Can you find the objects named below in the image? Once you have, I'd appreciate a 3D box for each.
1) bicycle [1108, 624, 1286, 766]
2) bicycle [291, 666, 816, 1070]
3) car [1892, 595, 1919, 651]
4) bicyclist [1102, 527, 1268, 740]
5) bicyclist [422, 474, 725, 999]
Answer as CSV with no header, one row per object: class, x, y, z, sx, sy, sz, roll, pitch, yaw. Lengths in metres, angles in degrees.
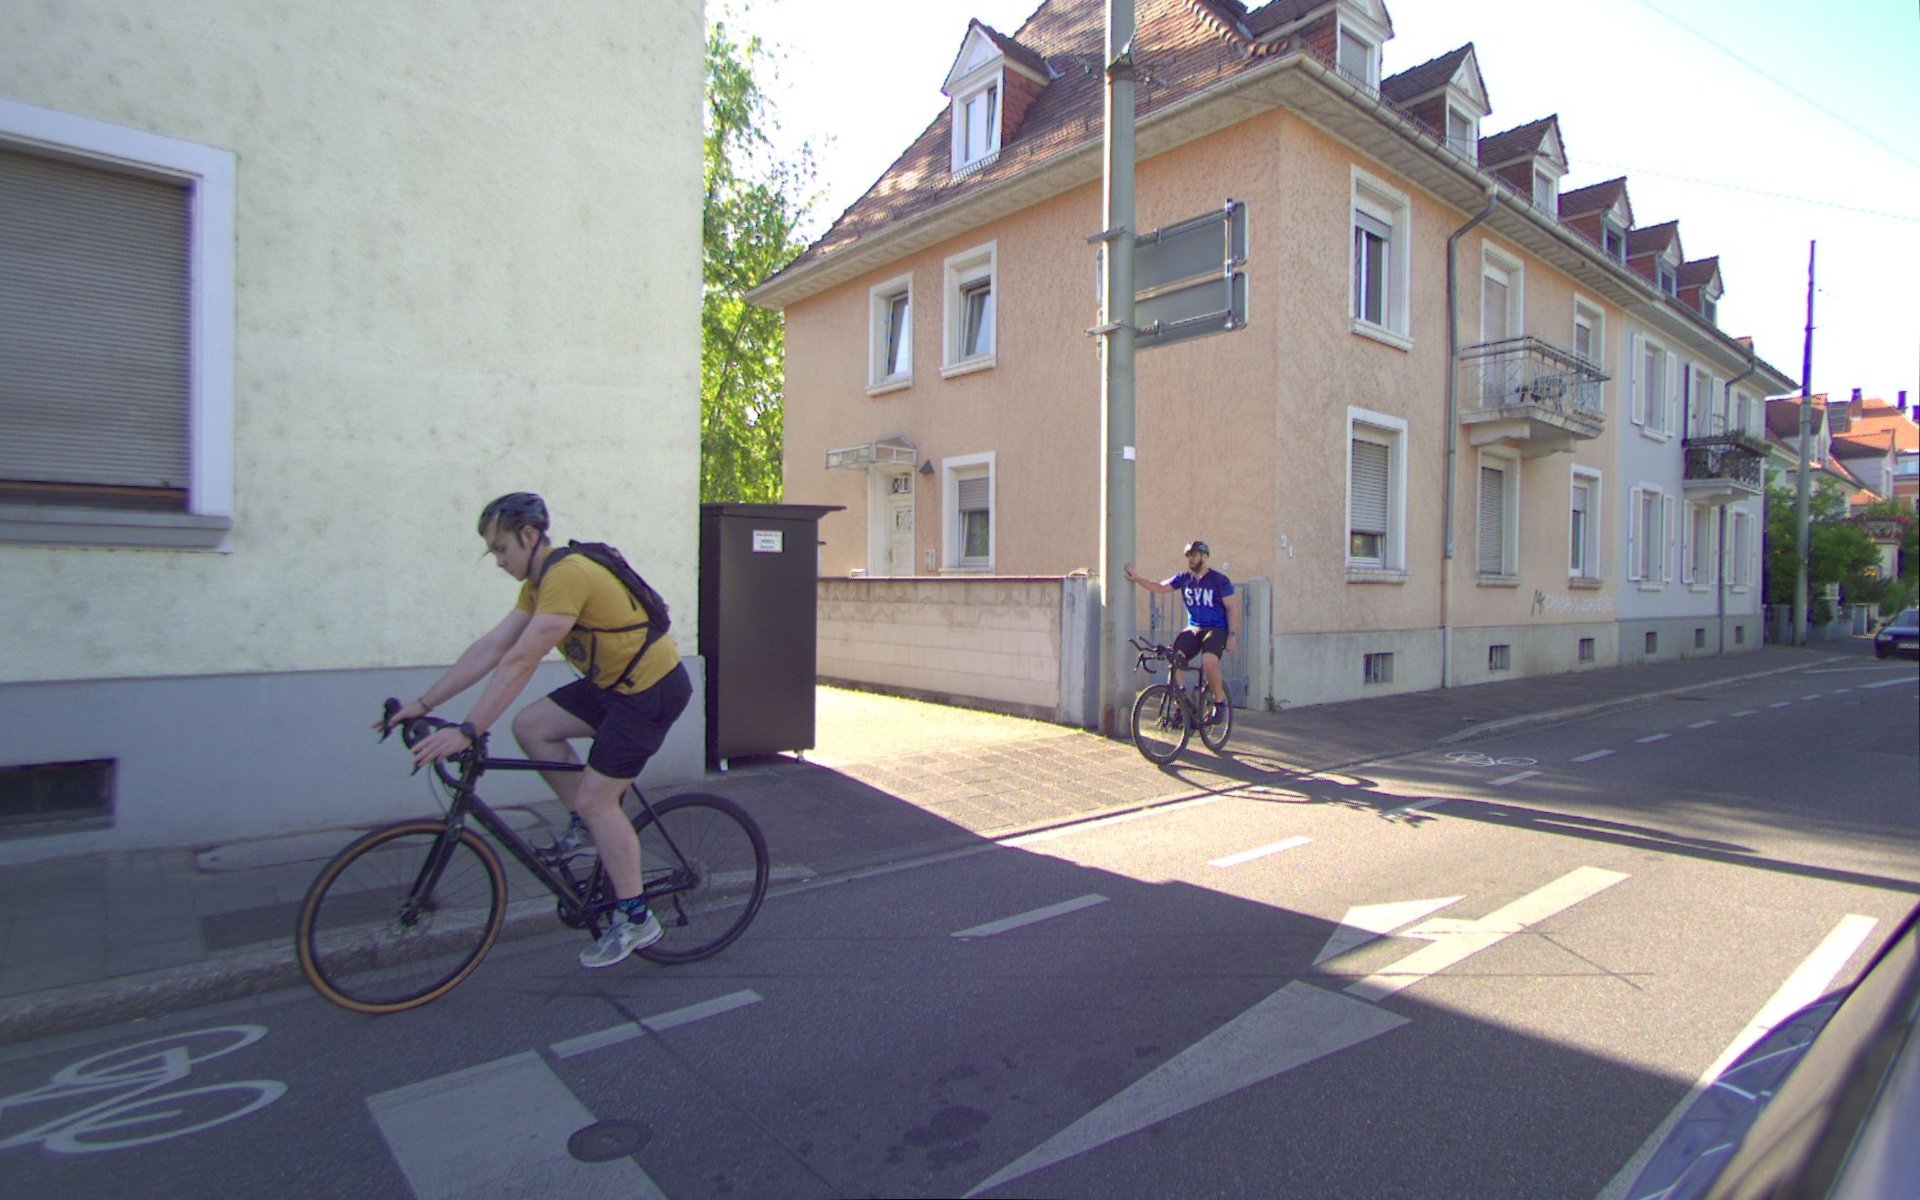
bicycle,2.142,0.793,9.034,1.689,1.064,0.595,0,6,-41
bicycle,-1.477,0.871,3.900,1.778,1.101,0.611,0,1,-41
car,26.645,0.609,27.312,3.932,1.438,1.845,0,1,-42
bicyclist,2.036,0.260,9.240,0.838,1.758,1.072,0,6,-40
bicyclist,-1.472,0.444,3.887,0.939,1.743,0.582,0,1,-41
